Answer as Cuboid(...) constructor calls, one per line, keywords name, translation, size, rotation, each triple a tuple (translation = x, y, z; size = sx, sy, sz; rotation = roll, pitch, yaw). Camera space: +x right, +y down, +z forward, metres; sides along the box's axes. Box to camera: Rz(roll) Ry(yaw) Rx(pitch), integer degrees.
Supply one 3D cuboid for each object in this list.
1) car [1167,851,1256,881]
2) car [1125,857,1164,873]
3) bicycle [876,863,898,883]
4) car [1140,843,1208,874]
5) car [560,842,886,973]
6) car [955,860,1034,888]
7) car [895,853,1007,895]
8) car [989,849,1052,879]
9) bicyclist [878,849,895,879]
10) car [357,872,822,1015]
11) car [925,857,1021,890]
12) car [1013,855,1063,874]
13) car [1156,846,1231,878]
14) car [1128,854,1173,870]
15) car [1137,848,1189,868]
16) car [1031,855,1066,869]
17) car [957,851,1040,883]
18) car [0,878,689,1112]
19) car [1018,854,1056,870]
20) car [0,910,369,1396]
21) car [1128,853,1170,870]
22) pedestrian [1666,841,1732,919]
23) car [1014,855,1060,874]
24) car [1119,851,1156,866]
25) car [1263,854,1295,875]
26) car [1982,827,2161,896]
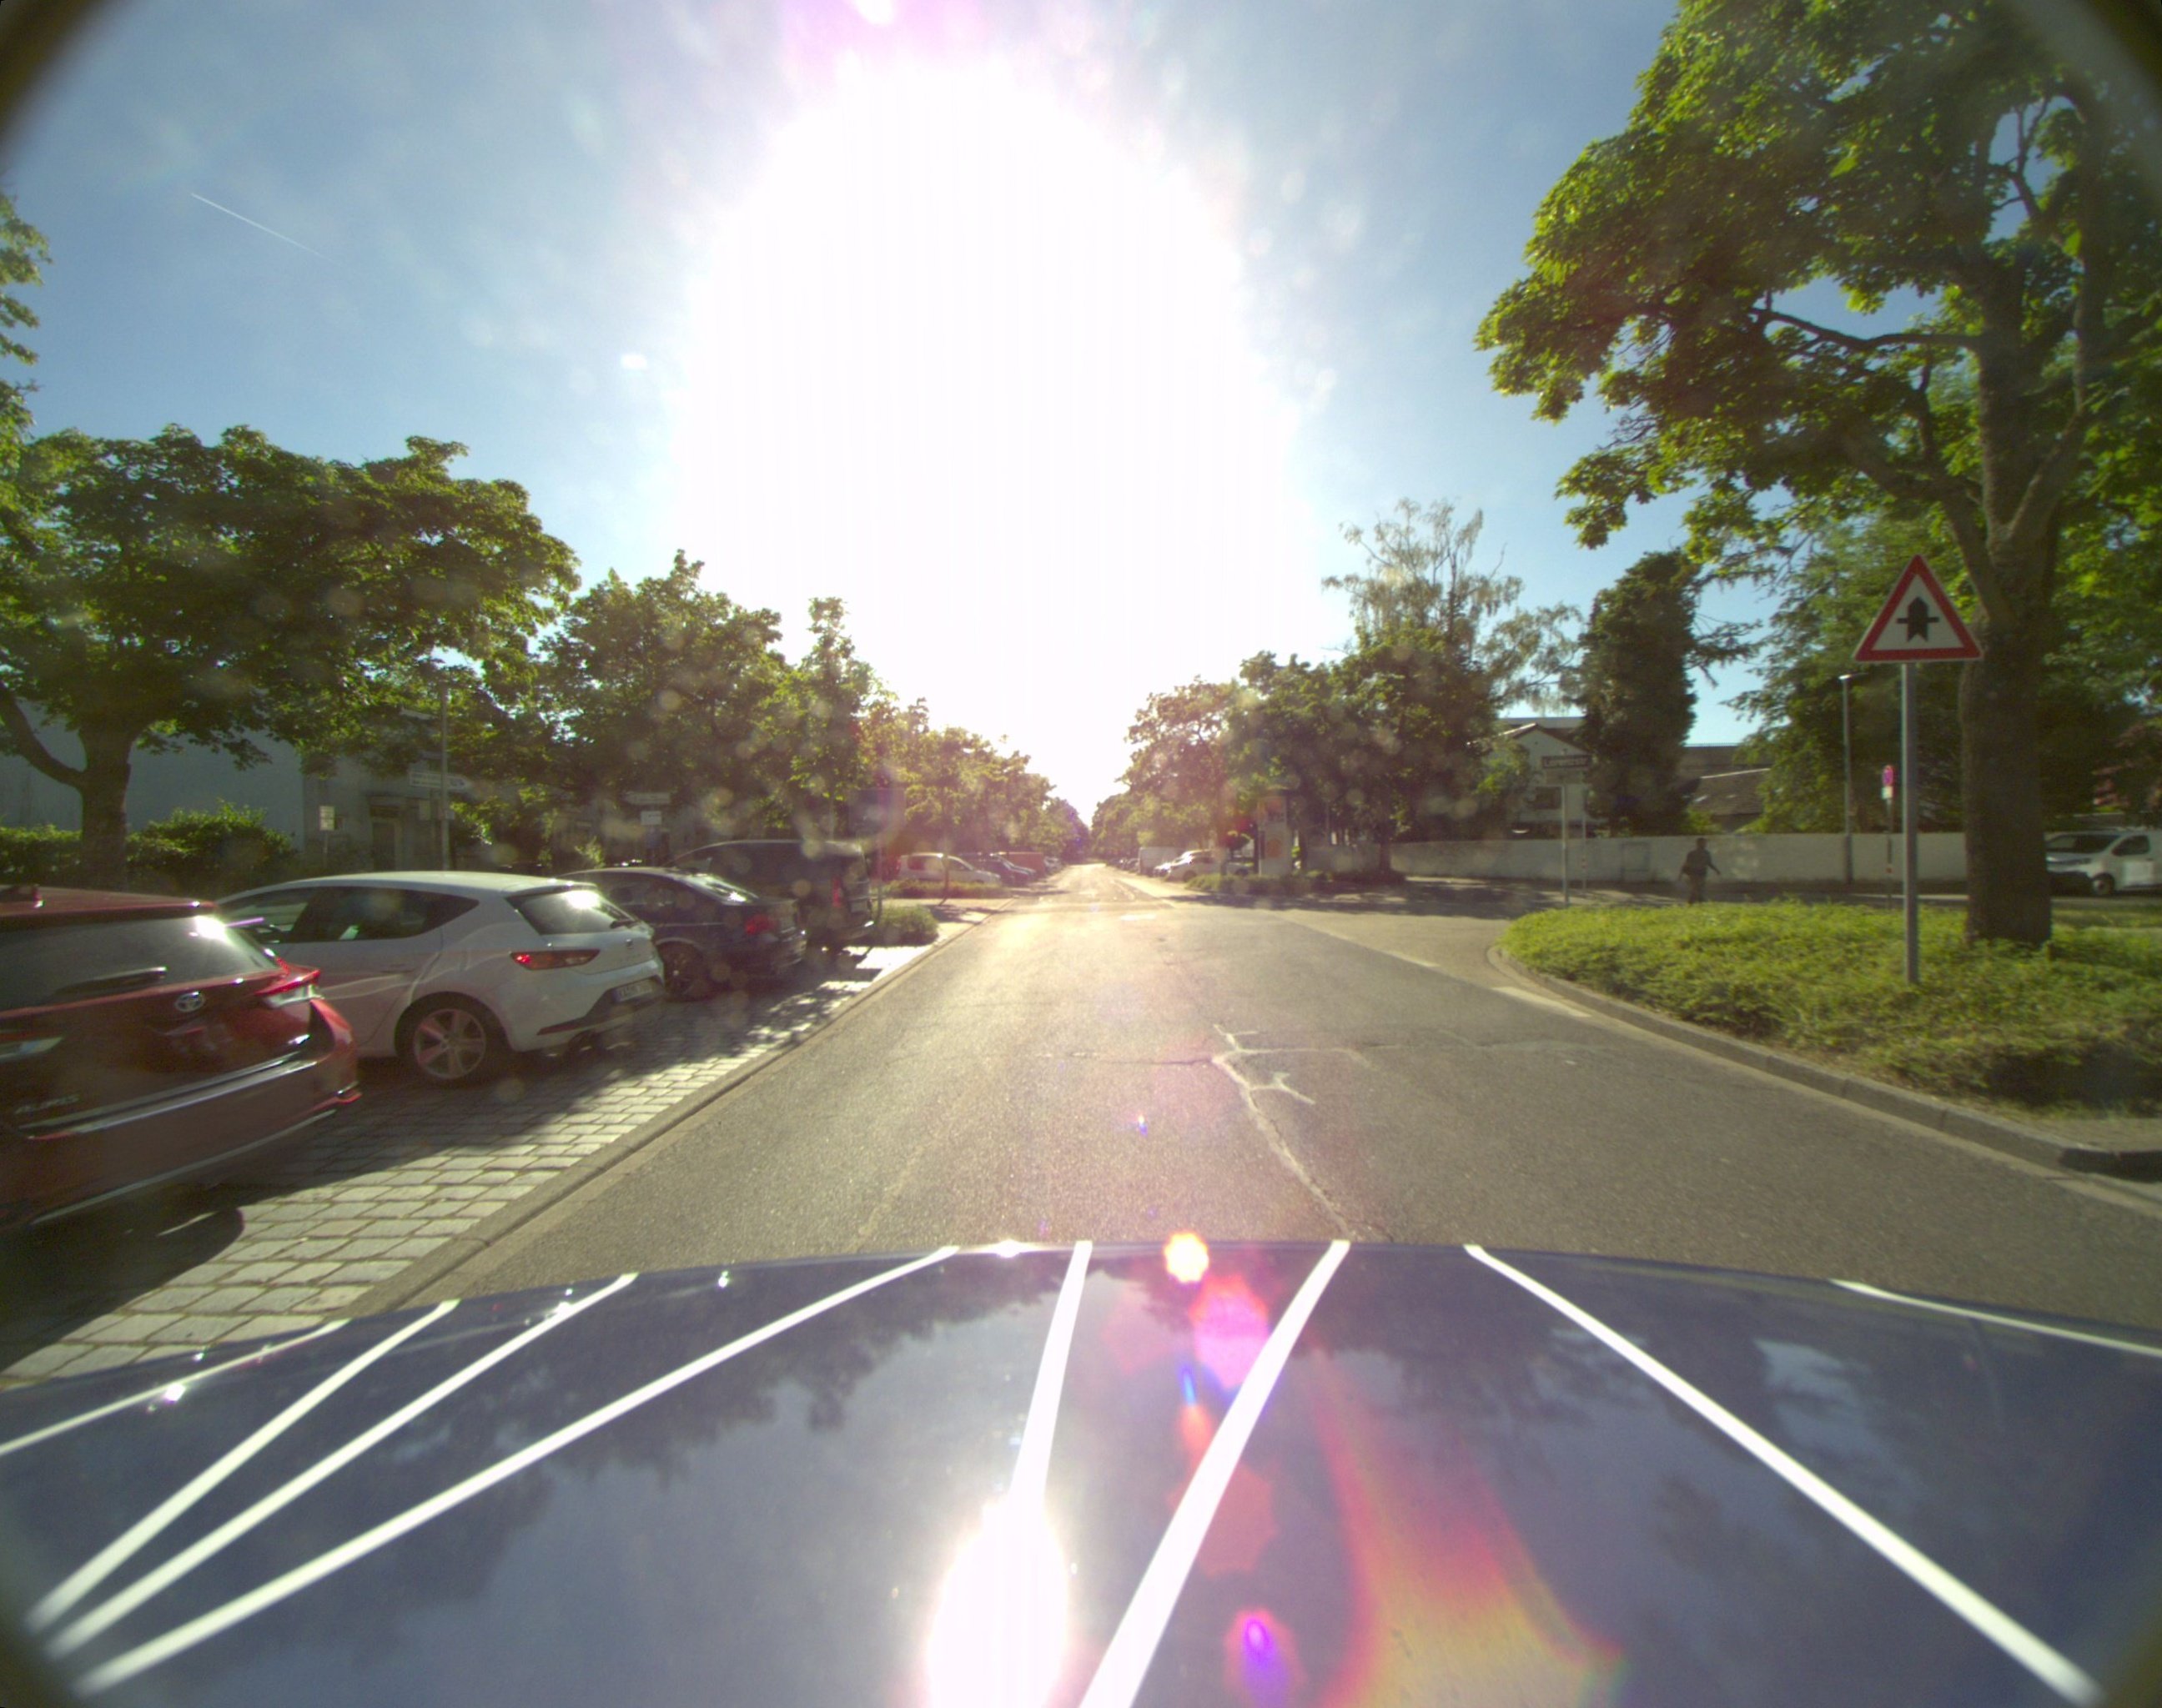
Cuboid(name="car", translation=(7.250, 0.669, 42.542), size=(4.684, 1.398, 1.829), rotation=(-3, 0, 2))
Cuboid(name="car", translation=(7.723, 1.361, 93.001), size=(4.562, 1.819, 2.000), rotation=(-1, -1, -1))
Cuboid(name="bicycle", translation=(-9.853, 0.970, 38.671), size=(0.596, 0.990, 2.089), rotation=(-1, -1, 0))
Cuboid(name="car", translation=(7.382, 0.374, 60.742), size=(5.132, 2.364, 2.000), rotation=(-1, 0, -1))
Cuboid(name="car", translation=(-5.376, 0.763, 11.827), size=(4.165, 1.836, 1.880), rotation=(1, 1, 0))
Cuboid(name="car", translation=(-4.670, 1.081, 41.490), size=(4.165, 1.398, 1.829), rotation=(1, 1, -1))
Cuboid(name="car", translation=(-5.066, 0.773, 30.044), size=(4.165, 1.589, 1.828), rotation=(0, 1, -1))
Cuboid(name="car", translation=(-4.229, 0.693, 53.407), size=(4.257, 2.020, 1.973), rotation=(1, 1, -1))
Cuboid(name="bicyclist", translation=(-9.861, 0.500, 38.504), size=(0.596, 1.514, 1.015), rotation=(-1, 0, 0))
Cuboid(name="car", translation=(-5.391, 0.957, 8.796), size=(4.165, 1.398, 1.829), rotation=(1, 1, -1))
Cuboid(name="car", translation=(-4.869, 0.881, 34.748), size=(4.165, 1.398, 1.829), rotation=(1, 1, -1))
Cuboid(name="car", translation=(-3.719, 0.881, 66.569), size=(4.257, 1.605, 1.973), rotation=(1, 1, -1))
Cuboid(name="car", translation=(7.406, 0.537, 50.201), size=(4.633, 1.979, 2.000), rotation=(-1, -1, -1))
Cuboid(name="car", translation=(7.374, 0.851, 80.551), size=(4.562, 1.590, 2.000), rotation=(-1, -1, -1))
Cuboid(name="car", translation=(7.558, 0.376, 70.369), size=(4.562, 1.819, 2.000), rotation=(-1, -1, -1))
Cuboid(name="car", translation=(-4.063, 1.017, 94.722), size=(4.257, 1.706, 1.973), rotation=(1, 1, -1))
Cuboid(name="car", translation=(-4.733, 0.757, 44.049), size=(4.662, 1.762, 1.828), rotation=(1, 1, -1))
Cuboid(name="car", translation=(-5.422, 0.945, 5.791), size=(3.909, 1.428, 1.808), rotation=(1, 0, -1))
Cuboid(name="car", translation=(-5.034, 0.926, 87.630), size=(4.257, 1.706, 1.973), rotation=(1, 1, -1))
Cuboid(name="car", translation=(-5.377, 1.012, 2.756), size=(3.909, 1.418, 1.672), rotation=(-1, 1, -1))
Cuboid(name="car", translation=(7.804, 0.883, 87.312), size=(4.562, 1.819, 2.000), rotation=(-1, -1, -1))
Cuboid(name="pedestrian", translation=(13.588, 0.547, 16.734), size=(0.837, 1.675, 0.808), rotation=(0, 1, 13))
Cuboid(name="car", translation=(-4.119, 0.959, 71.515), size=(4.257, 1.743, 1.973), rotation=(1, 1, -1))
Cuboid(name="car", translation=(7.215, 0.595, 97.408), size=(4.562, 1.819, 2.000), rotation=(-1, -1, -1))
Cuboid(name="car", translation=(16.199, 0.857, 62.423), size=(1.833, 1.605, 4.145), rotation=(1, 1, 4))
Cuboid(name="car", translation=(30.433, 0.186, 22.489), size=(5.143, 1.903, 1.904), rotation=(-1, 1, 1))
